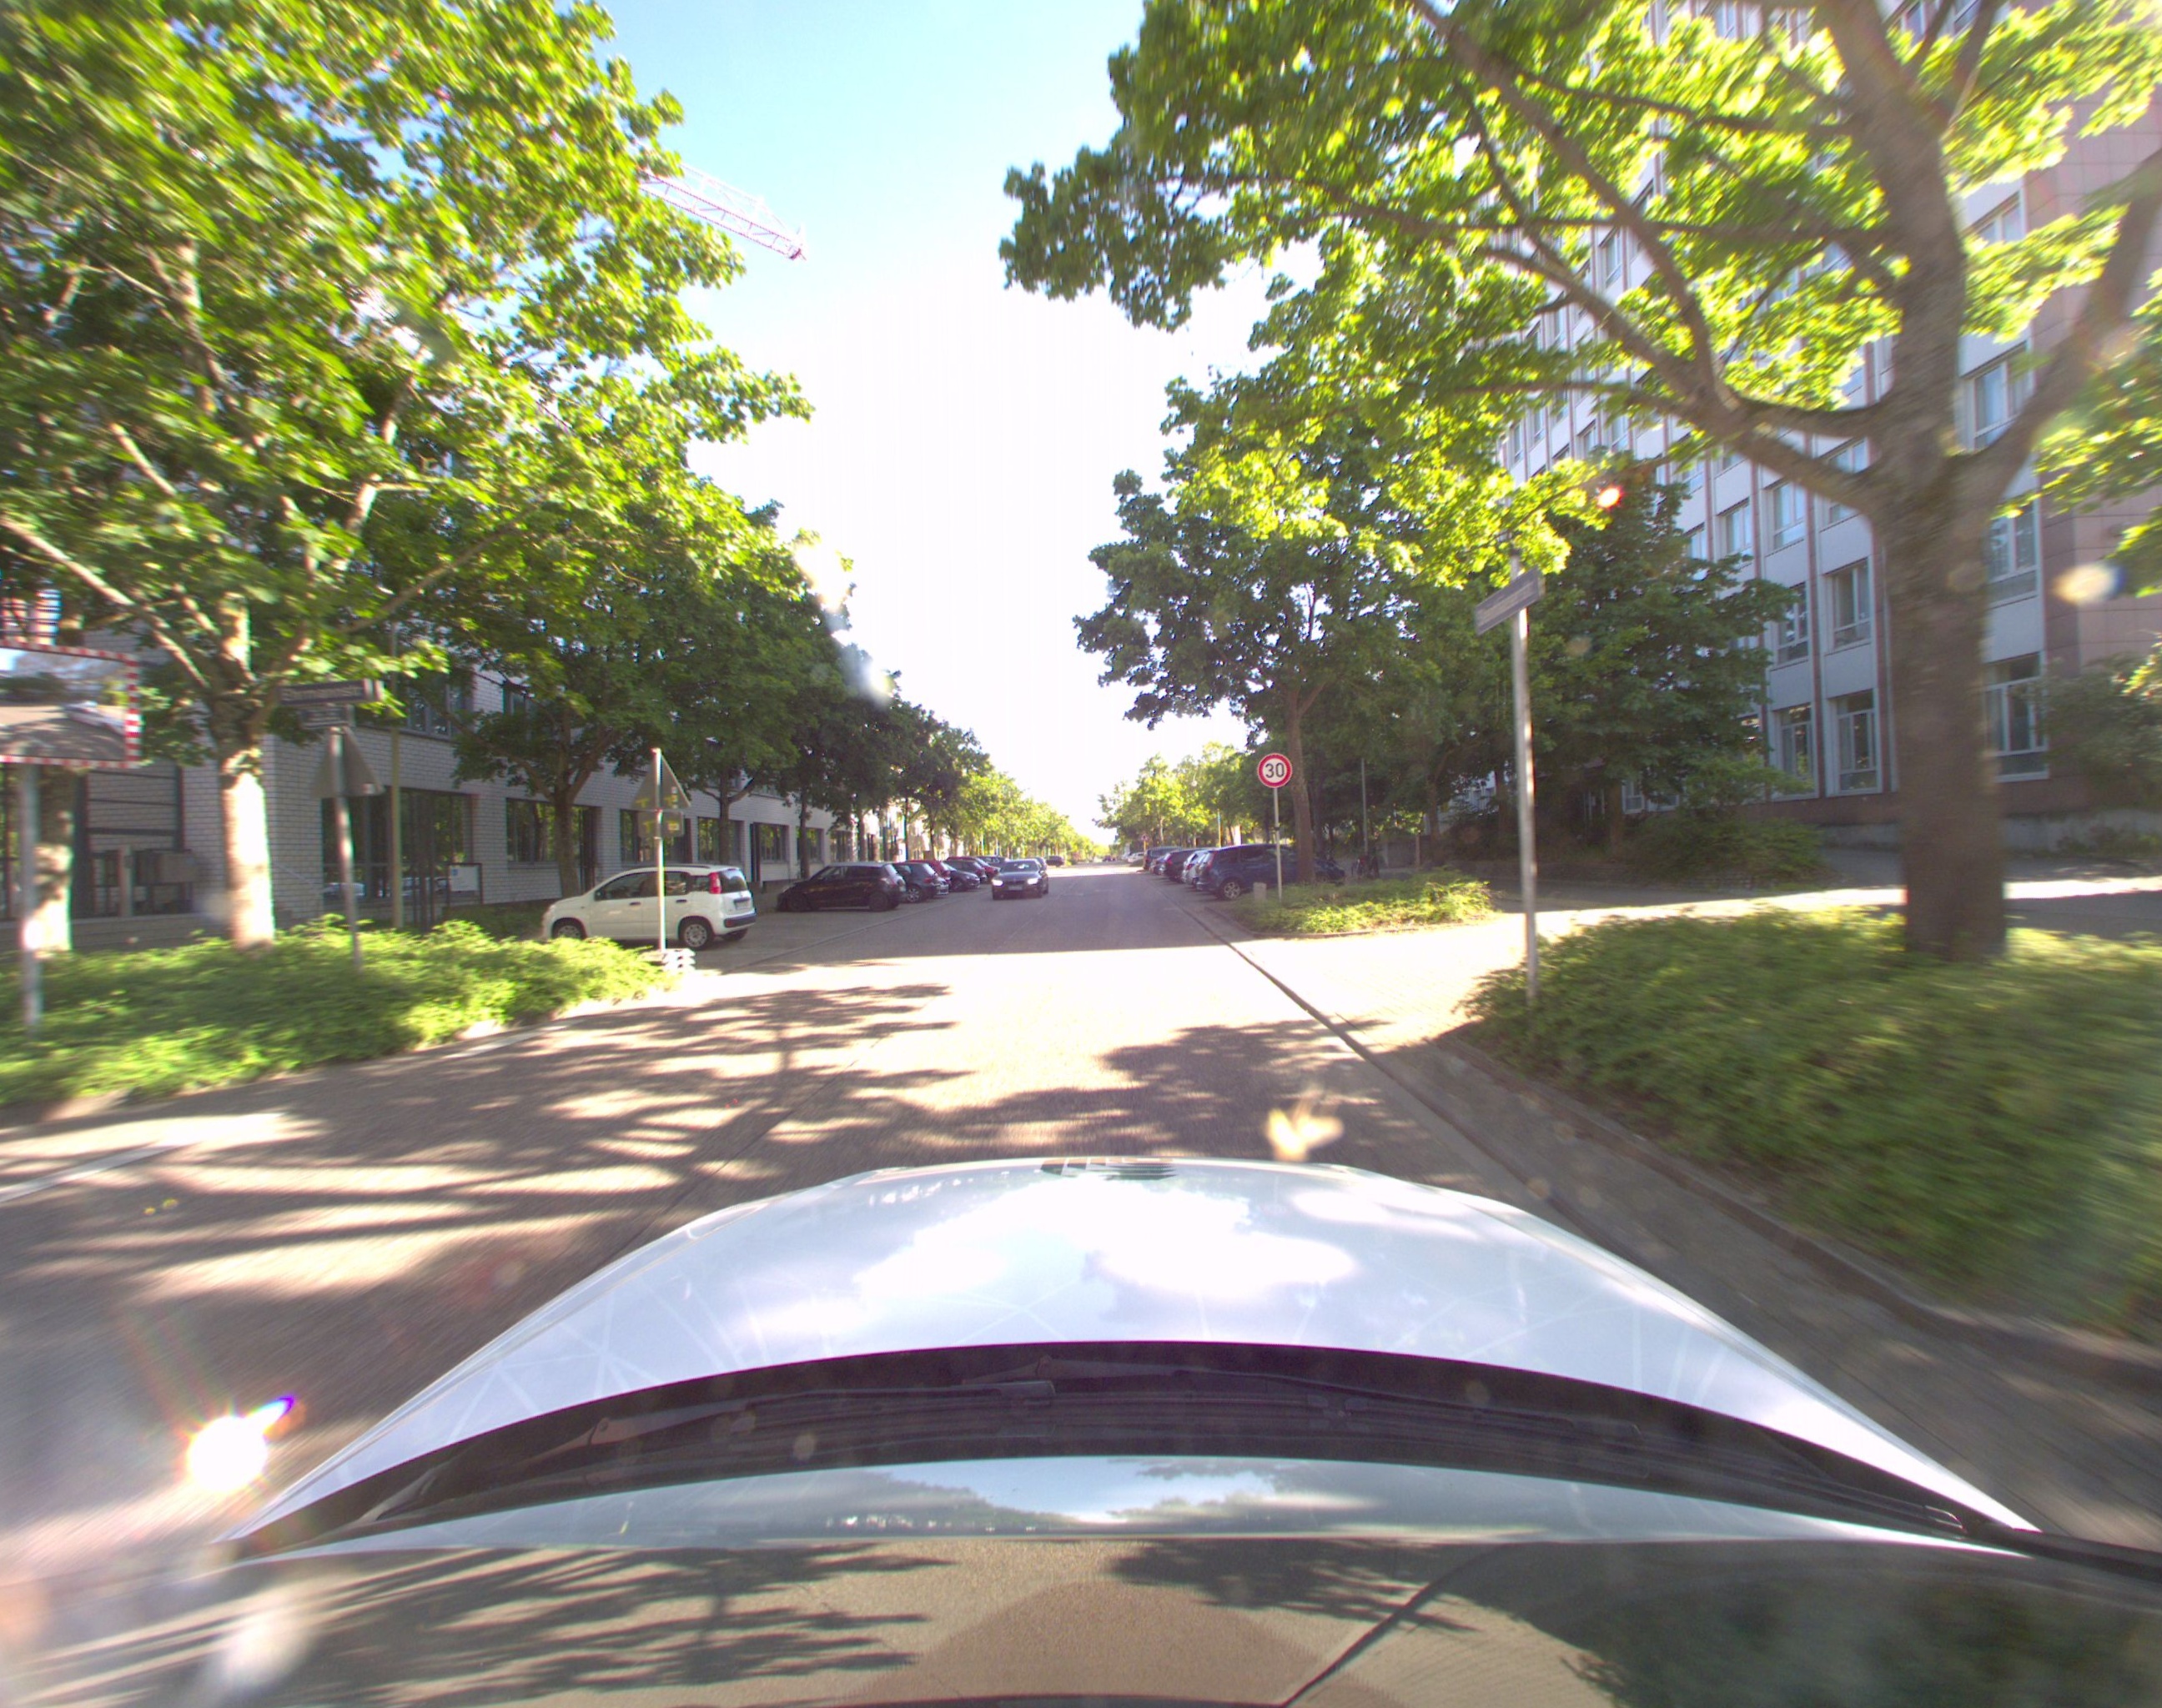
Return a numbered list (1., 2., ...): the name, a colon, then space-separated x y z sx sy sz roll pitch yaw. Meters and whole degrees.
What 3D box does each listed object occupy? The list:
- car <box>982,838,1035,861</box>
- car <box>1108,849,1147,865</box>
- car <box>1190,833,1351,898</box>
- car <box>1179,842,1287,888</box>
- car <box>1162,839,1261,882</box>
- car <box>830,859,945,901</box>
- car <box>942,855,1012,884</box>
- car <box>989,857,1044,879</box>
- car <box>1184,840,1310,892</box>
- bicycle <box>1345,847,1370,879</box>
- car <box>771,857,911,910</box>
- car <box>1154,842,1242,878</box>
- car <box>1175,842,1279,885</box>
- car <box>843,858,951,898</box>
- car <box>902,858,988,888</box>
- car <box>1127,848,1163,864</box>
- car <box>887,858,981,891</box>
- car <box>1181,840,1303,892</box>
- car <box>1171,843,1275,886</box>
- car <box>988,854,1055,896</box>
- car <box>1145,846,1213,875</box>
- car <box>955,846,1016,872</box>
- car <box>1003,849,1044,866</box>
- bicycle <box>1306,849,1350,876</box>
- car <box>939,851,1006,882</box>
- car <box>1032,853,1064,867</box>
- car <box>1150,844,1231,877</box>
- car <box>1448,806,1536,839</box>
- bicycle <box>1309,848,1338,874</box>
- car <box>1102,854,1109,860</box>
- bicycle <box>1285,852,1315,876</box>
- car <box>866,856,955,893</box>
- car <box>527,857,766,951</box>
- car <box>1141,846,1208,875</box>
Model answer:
1. car: -5.503 -0.311 62.356 3.884 1.612 1.856 -2 0 -3
2. car: 5.077 0.365 89.475 3.978 1.624 1.998 -2 0 -4
3. car: 5.531 0.326 24.112 4.255 1.633 1.857 -3 0 -1
4. car: 5.545 0.400 30.015 3.623 1.467 1.633 -3 -1 0
5. car: 5.861 0.284 36.990 4.227 1.554 1.923 -5 -1 6
6. car: -6.965 0.917 29.516 3.747 1.445 1.632 -1 -1 2
7. car: -6.491 0.987 51.087 3.968 1.587 1.767 -3 -2 4
8. car: -4.906 1.068 62.471 3.974 1.481 1.679 -2 0 0
9. car: 5.559 0.388 27.615 3.868 1.526 1.896 -3 0 1
10. bicycle: 9.565 0.294 28.223 0.377 1.047 1.888 -4 -1 7
11. car: -7.265 0.875 24.938 3.720 1.464 1.677 -2 0 0
12. car: 5.759 0.272 40.254 4.038 1.591 1.547 -2 0 -6
13. car: 5.832 0.369 32.915 3.852 1.468 1.967 -3 0 1
14. car: -7.196 0.935 32.194 3.855 1.457 1.754 -1 1 -1
15. car: -6.611 0.900 39.874 3.979 1.406 1.603 0 -1 -4
16. car: 7.481 0.248 95.811 3.978 1.792 1.998 -2 0 -4
17. car: -6.653 0.924 37.138 3.974 1.412 1.665 -1 -1 0
18. car: 5.359 0.409 27.489 3.725 1.467 1.912 -3 -1 2
19. car: 5.619 0.400 32.483 3.742 1.449 1.879 -3 -1 -2
20. car: -2.154 0.744 30.761 1.804 1.415 4.114 -2 0 5
21. car: 6.132 0.418 51.229 3.885 1.656 1.856 -2 0 -4
22. car: -6.850 0.355 58.382 3.969 1.654 1.862 -3 0 4
23. car: -5.711 0.363 81.460 3.977 1.533 1.616 -3 0 -3
24. bicycle: 10.151 0.360 33.546 0.382 1.078 1.766 -2 -1 -40
25. car: -6.253 0.754 47.170 3.526 1.657 1.762 -2 -2 3
26. car: -4.271 0.754 106.298 3.972 1.684 2.001 -3 0 2
27. car: 5.835 0.332 43.518 4.033 1.491 1.549 -3 -1 -2
28. car: 23.698 -1.822 47.026 4.062 1.783 1.998 0 -1 -3
29. bicycle: 10.364 0.306 34.845 0.379 1.078 1.781 -2 0 -9
30. car: 7.160 0.853 236.648 1.926 1.597 4.368 -2 0 2
31. bicycle: 10.102 0.463 37.557 0.380 1.078 1.776 -2 0 -19
32. car: -7.170 0.861 34.490 3.411 1.463 1.694 -1 0 -4
33. car: -8.028 0.929 15.286 3.569 1.549 1.636 -2 -3 -1
34. car: 5.902 0.408 51.692 4.033 1.582 1.640 -3 -1 -2
